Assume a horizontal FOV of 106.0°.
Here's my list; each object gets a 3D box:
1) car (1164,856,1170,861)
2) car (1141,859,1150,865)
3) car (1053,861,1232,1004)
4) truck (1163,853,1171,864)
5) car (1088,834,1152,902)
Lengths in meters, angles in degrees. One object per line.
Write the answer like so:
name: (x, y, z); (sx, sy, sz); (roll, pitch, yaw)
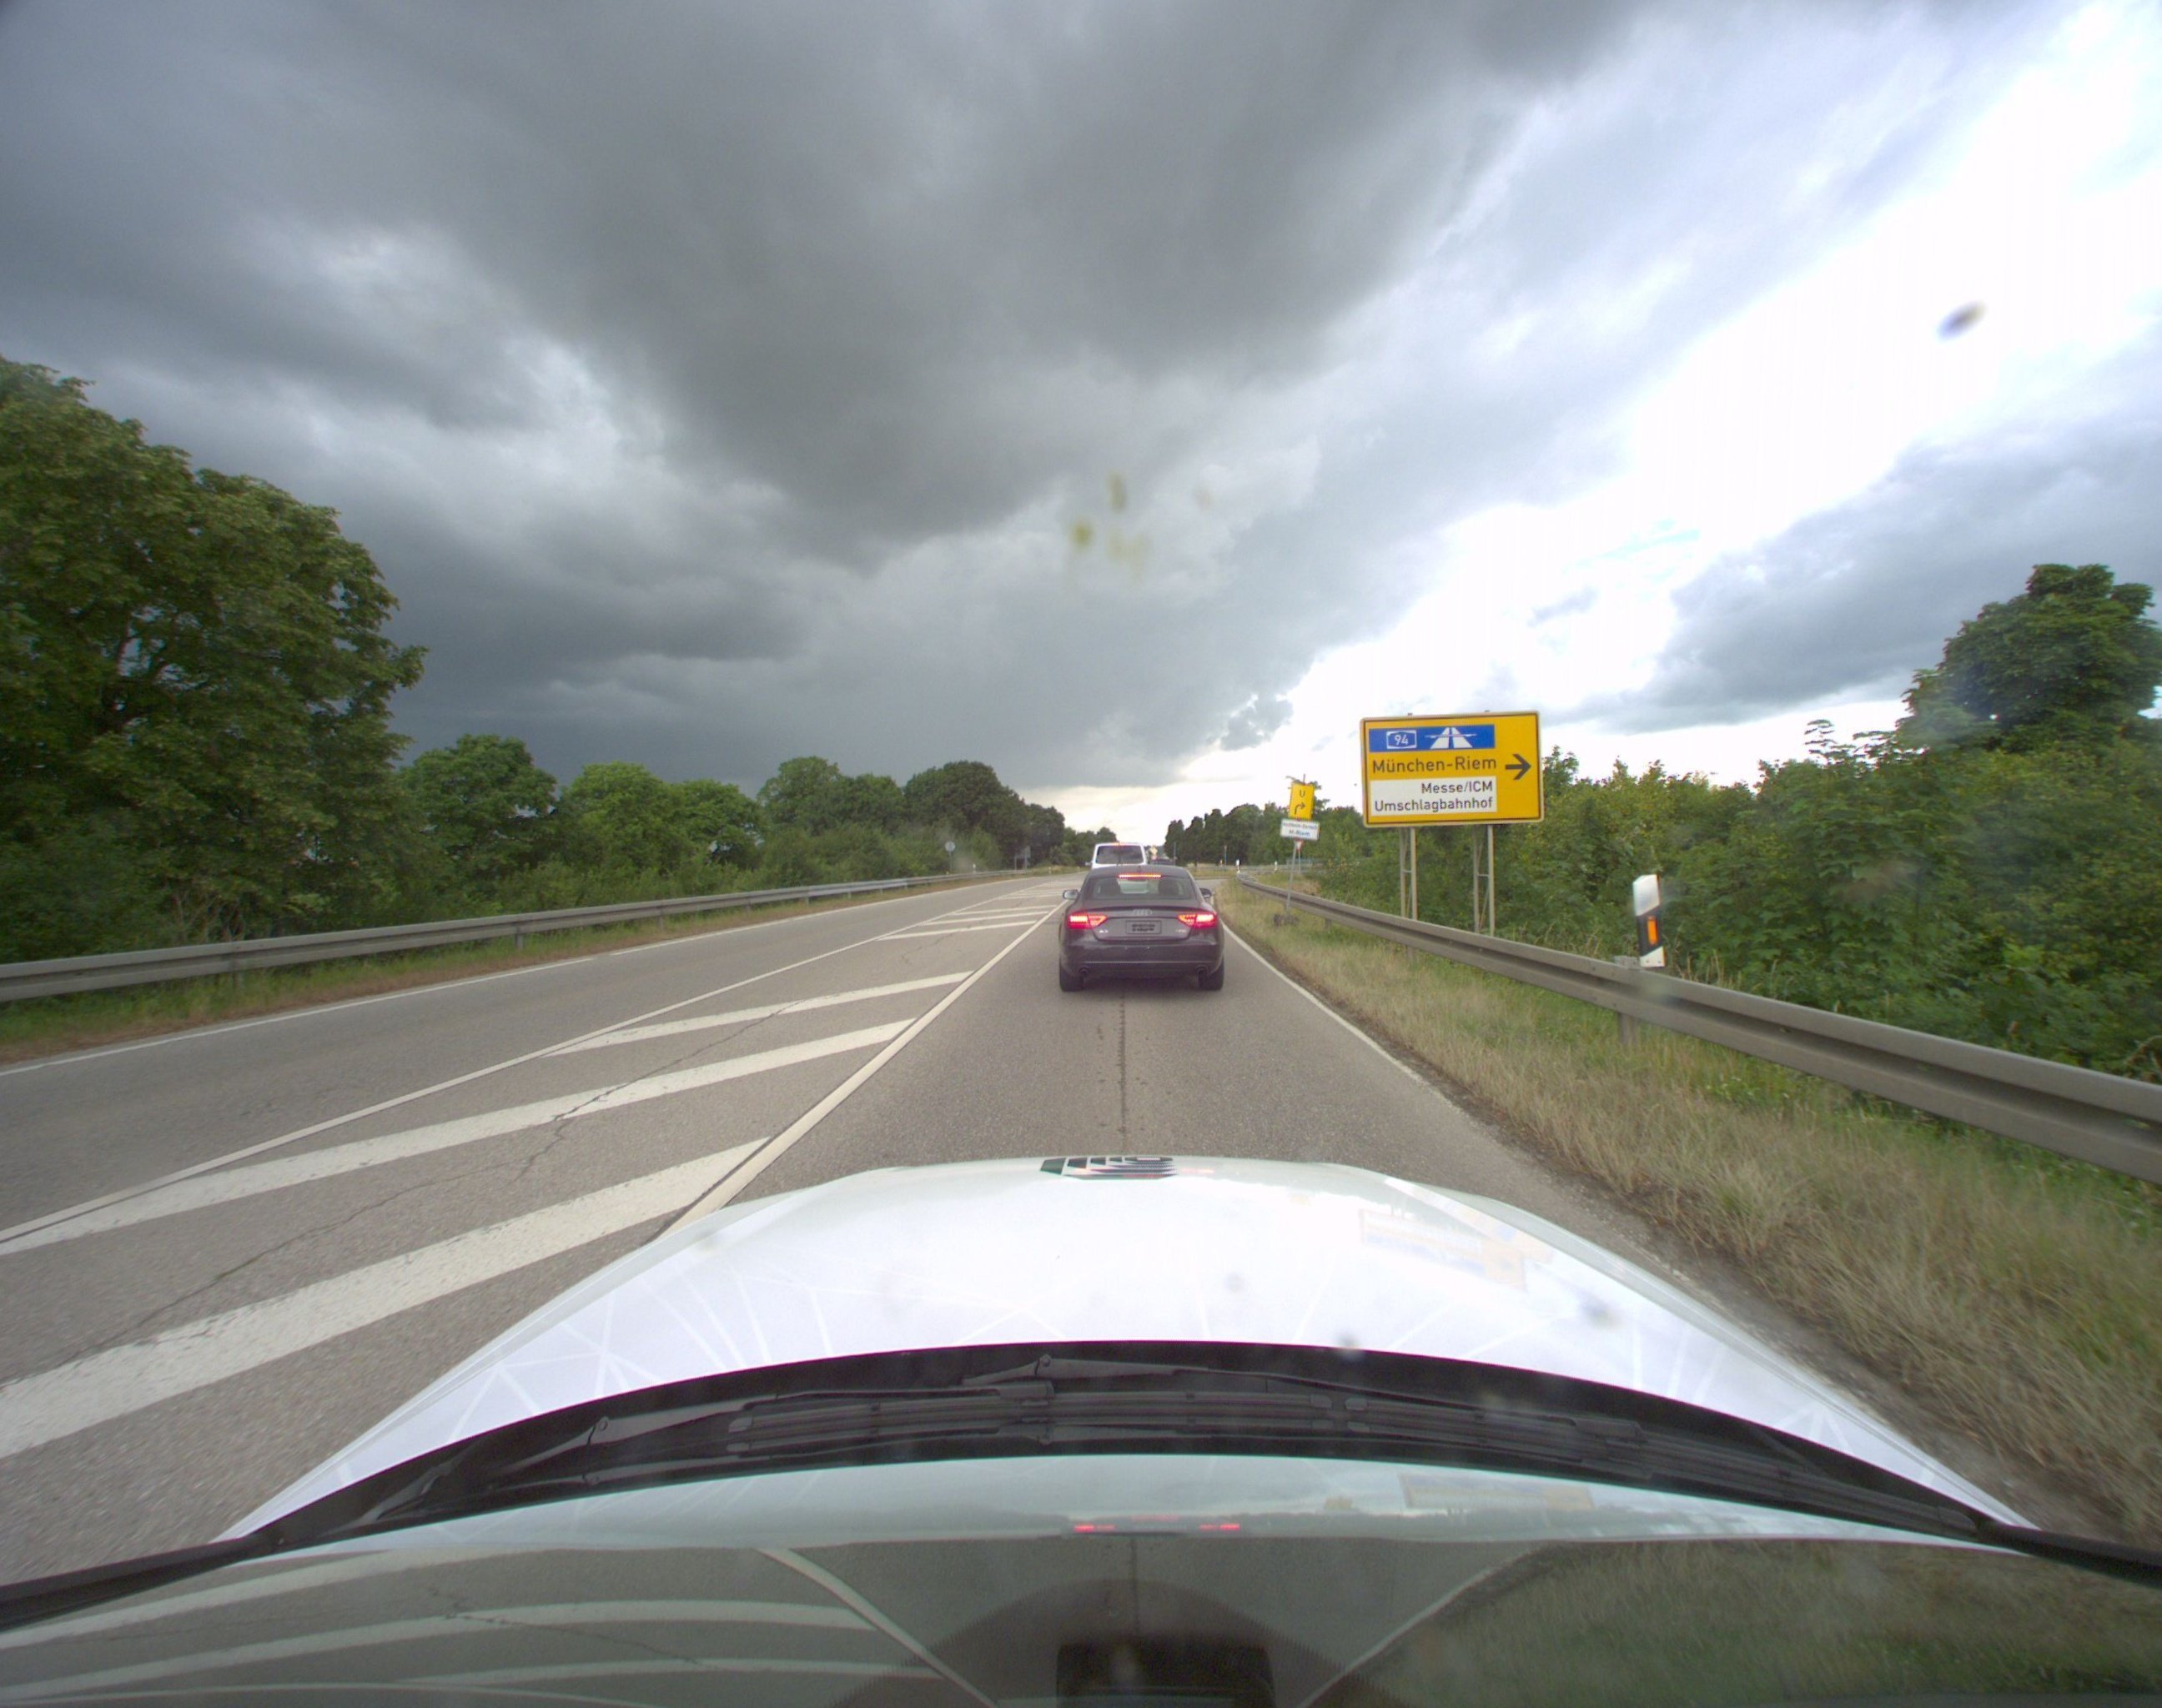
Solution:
car: (27.006, 1.367, 255.498); (1.984, 1.692, 4.005); (-1, 0, 5)
car: (16.094, 2.010, 203.534); (2.197, 1.582, 4.381); (-1, 0, 2)
car: (0.672, 0.798, 9.844); (1.773, 1.399, 3.338); (-1, 0, 2)
truck: (25.012, 1.267, 237.025); (1.984, 2.918, 5.802); (-1, 0, 5)
car: (1.231, 0.426, 26.321); (1.903, 2.013, 4.002); (-1, 0, 2)
